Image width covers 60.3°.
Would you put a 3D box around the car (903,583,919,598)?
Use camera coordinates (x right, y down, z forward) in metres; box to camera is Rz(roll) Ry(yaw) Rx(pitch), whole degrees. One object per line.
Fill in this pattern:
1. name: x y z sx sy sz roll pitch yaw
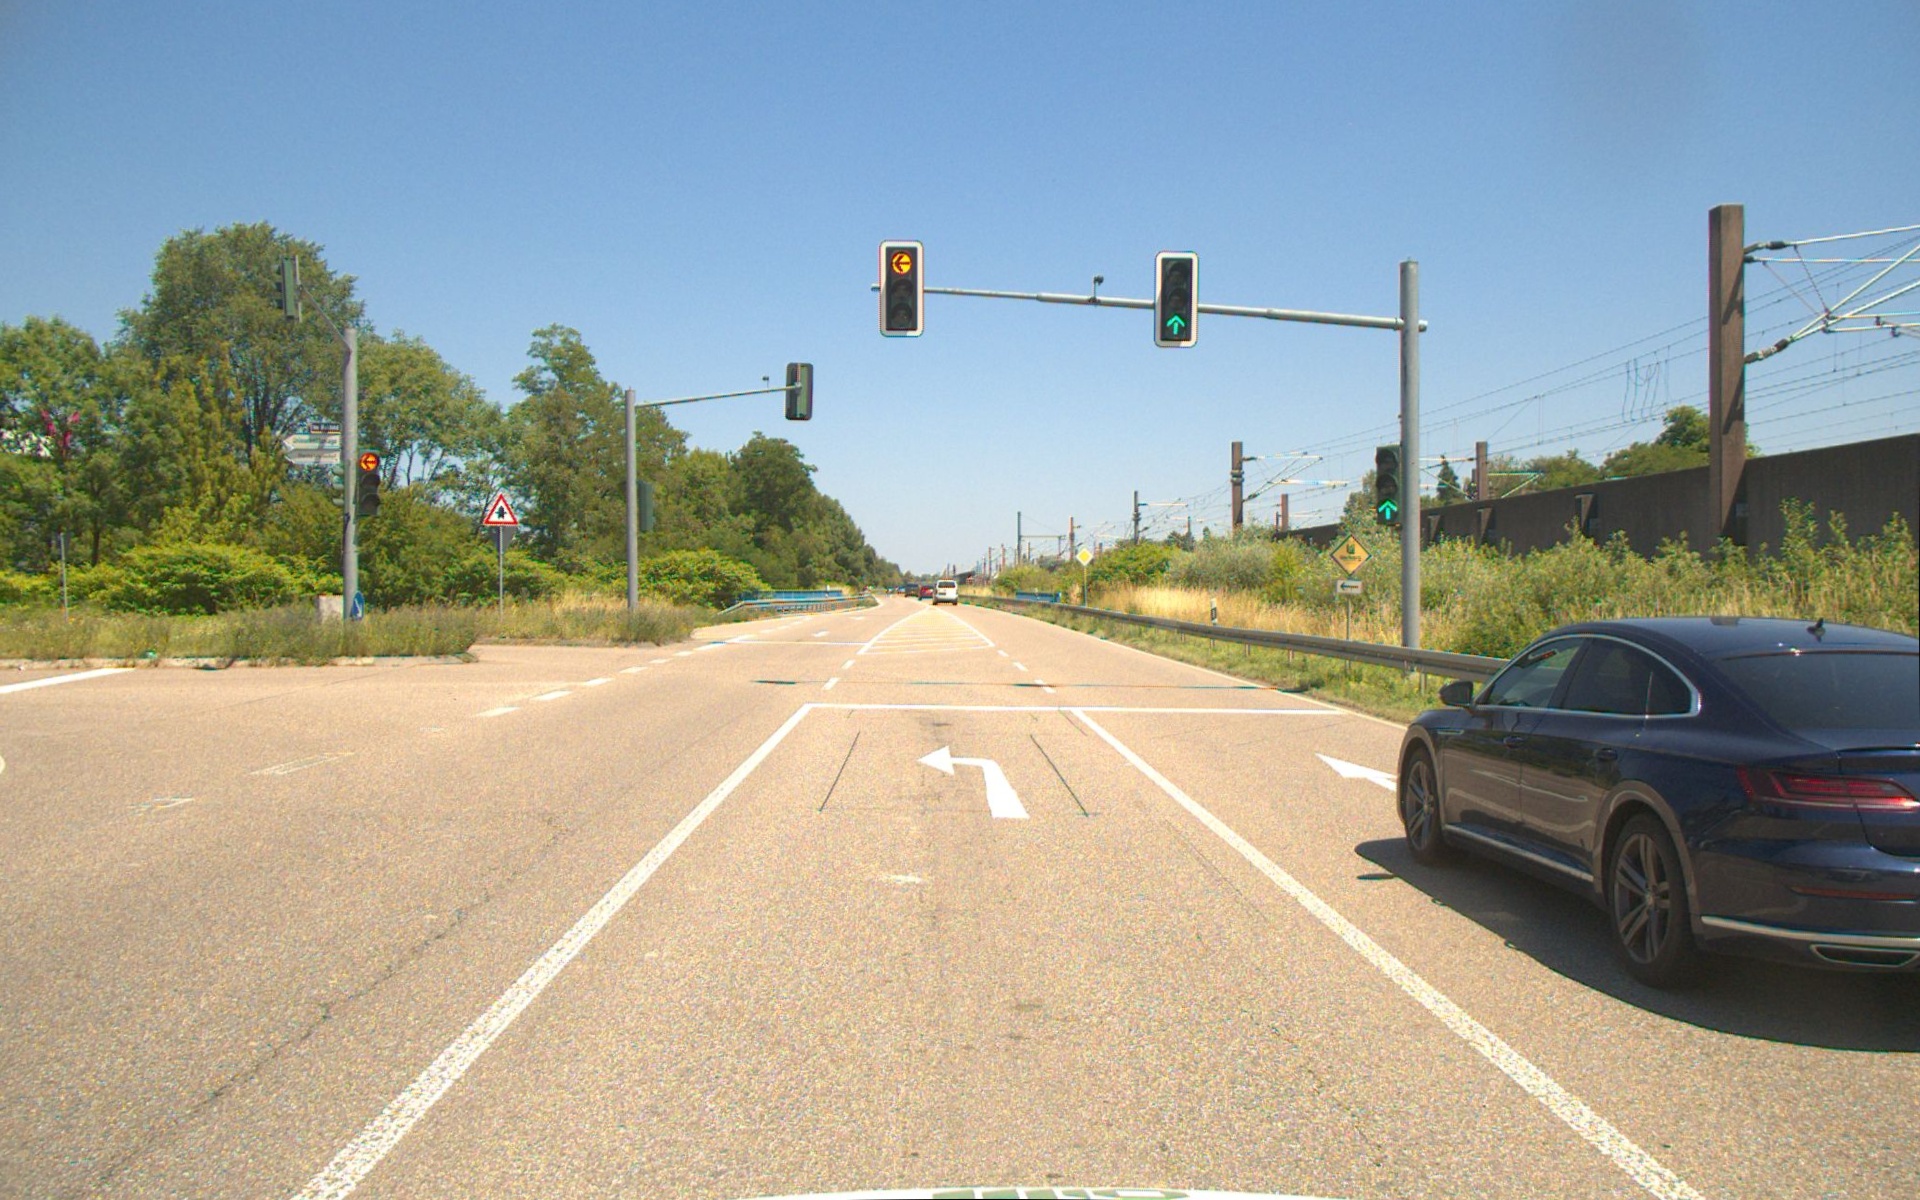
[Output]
1. car: -6.970 -1.383 234.078 2.112 2.002 4.540 1 0 -3

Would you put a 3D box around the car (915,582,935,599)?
1. car: -3.714 -1.046 177.091 1.979 1.756 4.540 1 0 -3

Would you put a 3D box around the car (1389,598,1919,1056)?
1. car: 3.545 0.738 7.556 1.819 1.403 4.501 1 1 -2

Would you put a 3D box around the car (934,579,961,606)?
1. car: -1.037 -0.610 131.503 1.953 2.018 4.058 1 1 -3
